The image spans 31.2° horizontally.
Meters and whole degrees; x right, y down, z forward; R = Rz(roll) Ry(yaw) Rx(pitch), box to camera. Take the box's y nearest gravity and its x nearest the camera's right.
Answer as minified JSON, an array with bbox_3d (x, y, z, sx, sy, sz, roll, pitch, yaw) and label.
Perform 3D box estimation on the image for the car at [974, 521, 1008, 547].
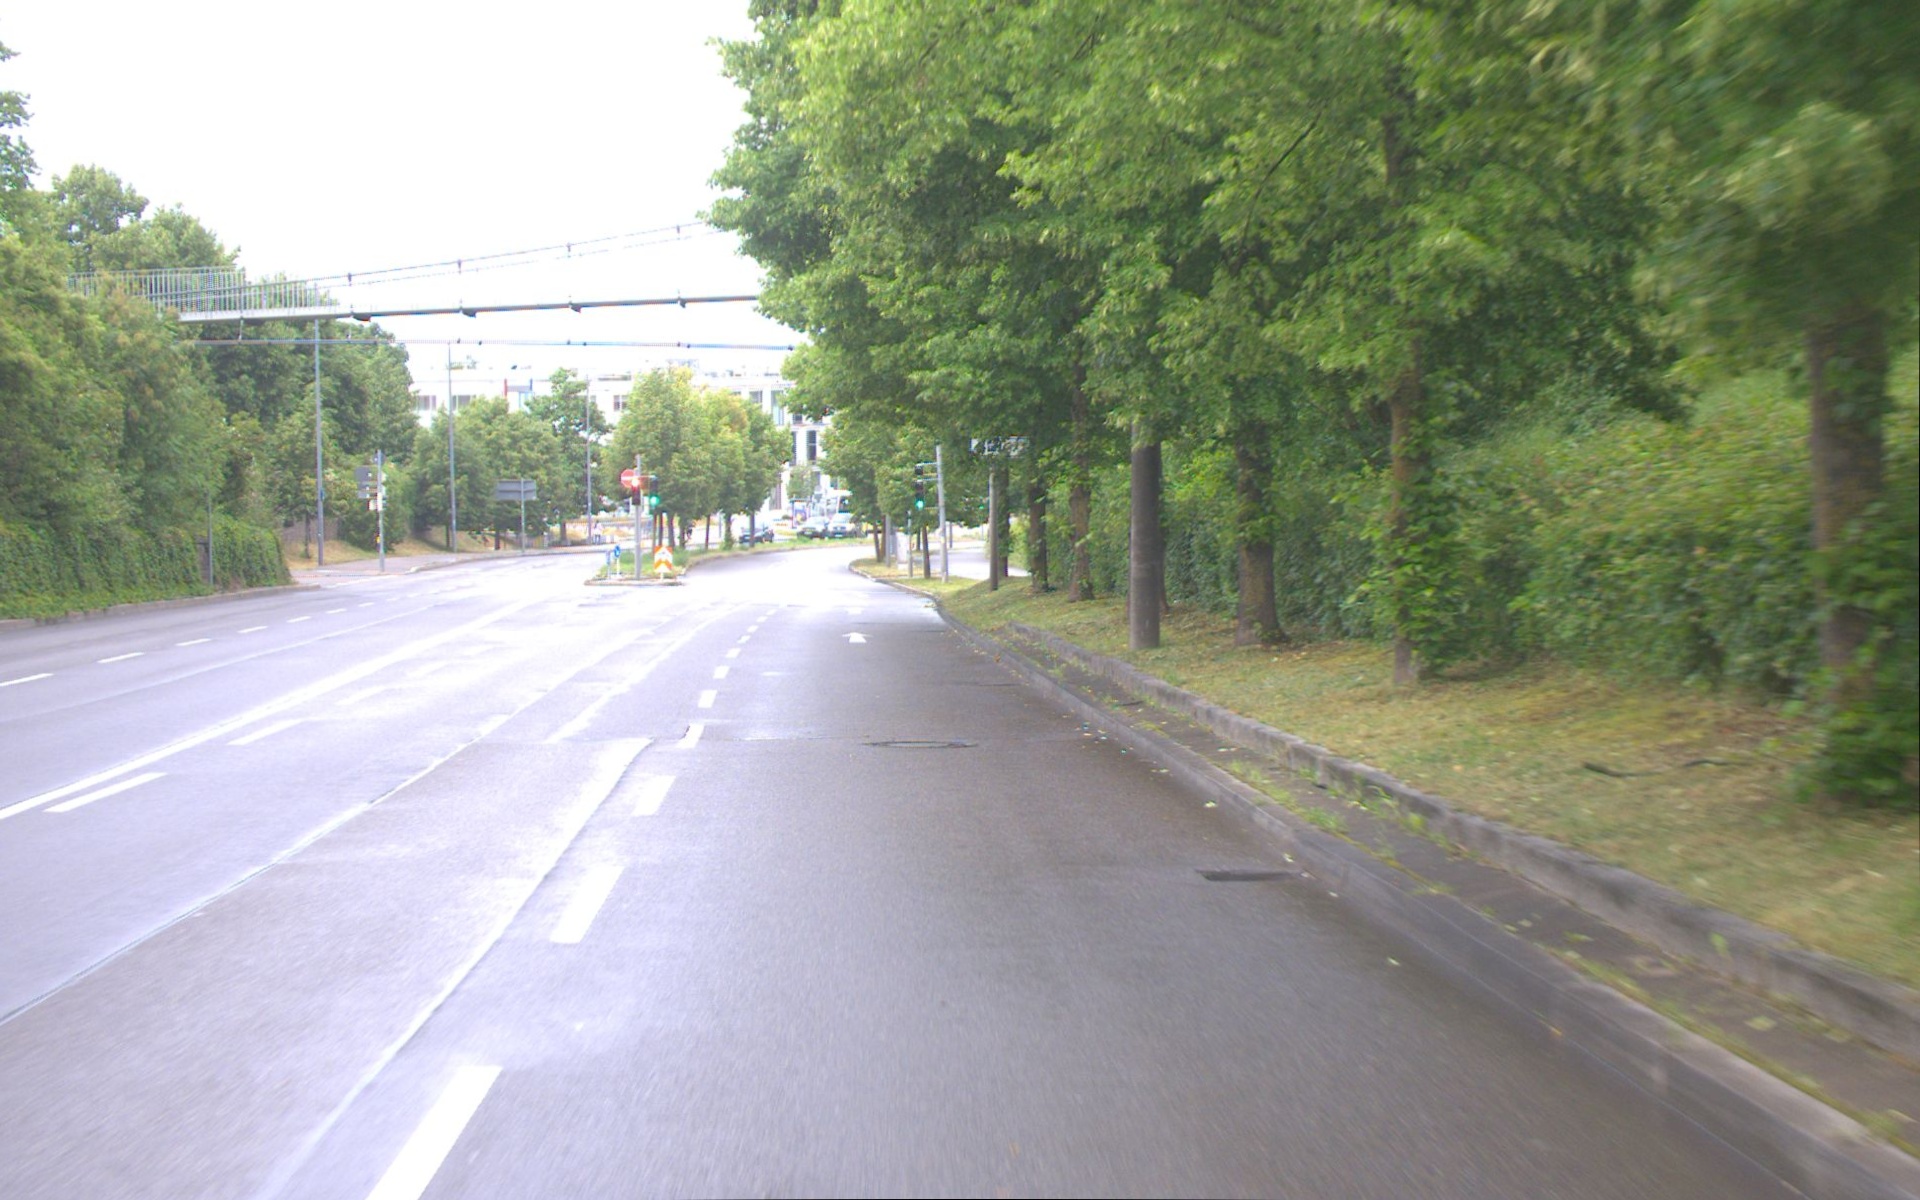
[{"bbox_3d":[2.135,-4.519,235.396,1.850,1.696,3.792,1,0,8],"label":"car"}]
